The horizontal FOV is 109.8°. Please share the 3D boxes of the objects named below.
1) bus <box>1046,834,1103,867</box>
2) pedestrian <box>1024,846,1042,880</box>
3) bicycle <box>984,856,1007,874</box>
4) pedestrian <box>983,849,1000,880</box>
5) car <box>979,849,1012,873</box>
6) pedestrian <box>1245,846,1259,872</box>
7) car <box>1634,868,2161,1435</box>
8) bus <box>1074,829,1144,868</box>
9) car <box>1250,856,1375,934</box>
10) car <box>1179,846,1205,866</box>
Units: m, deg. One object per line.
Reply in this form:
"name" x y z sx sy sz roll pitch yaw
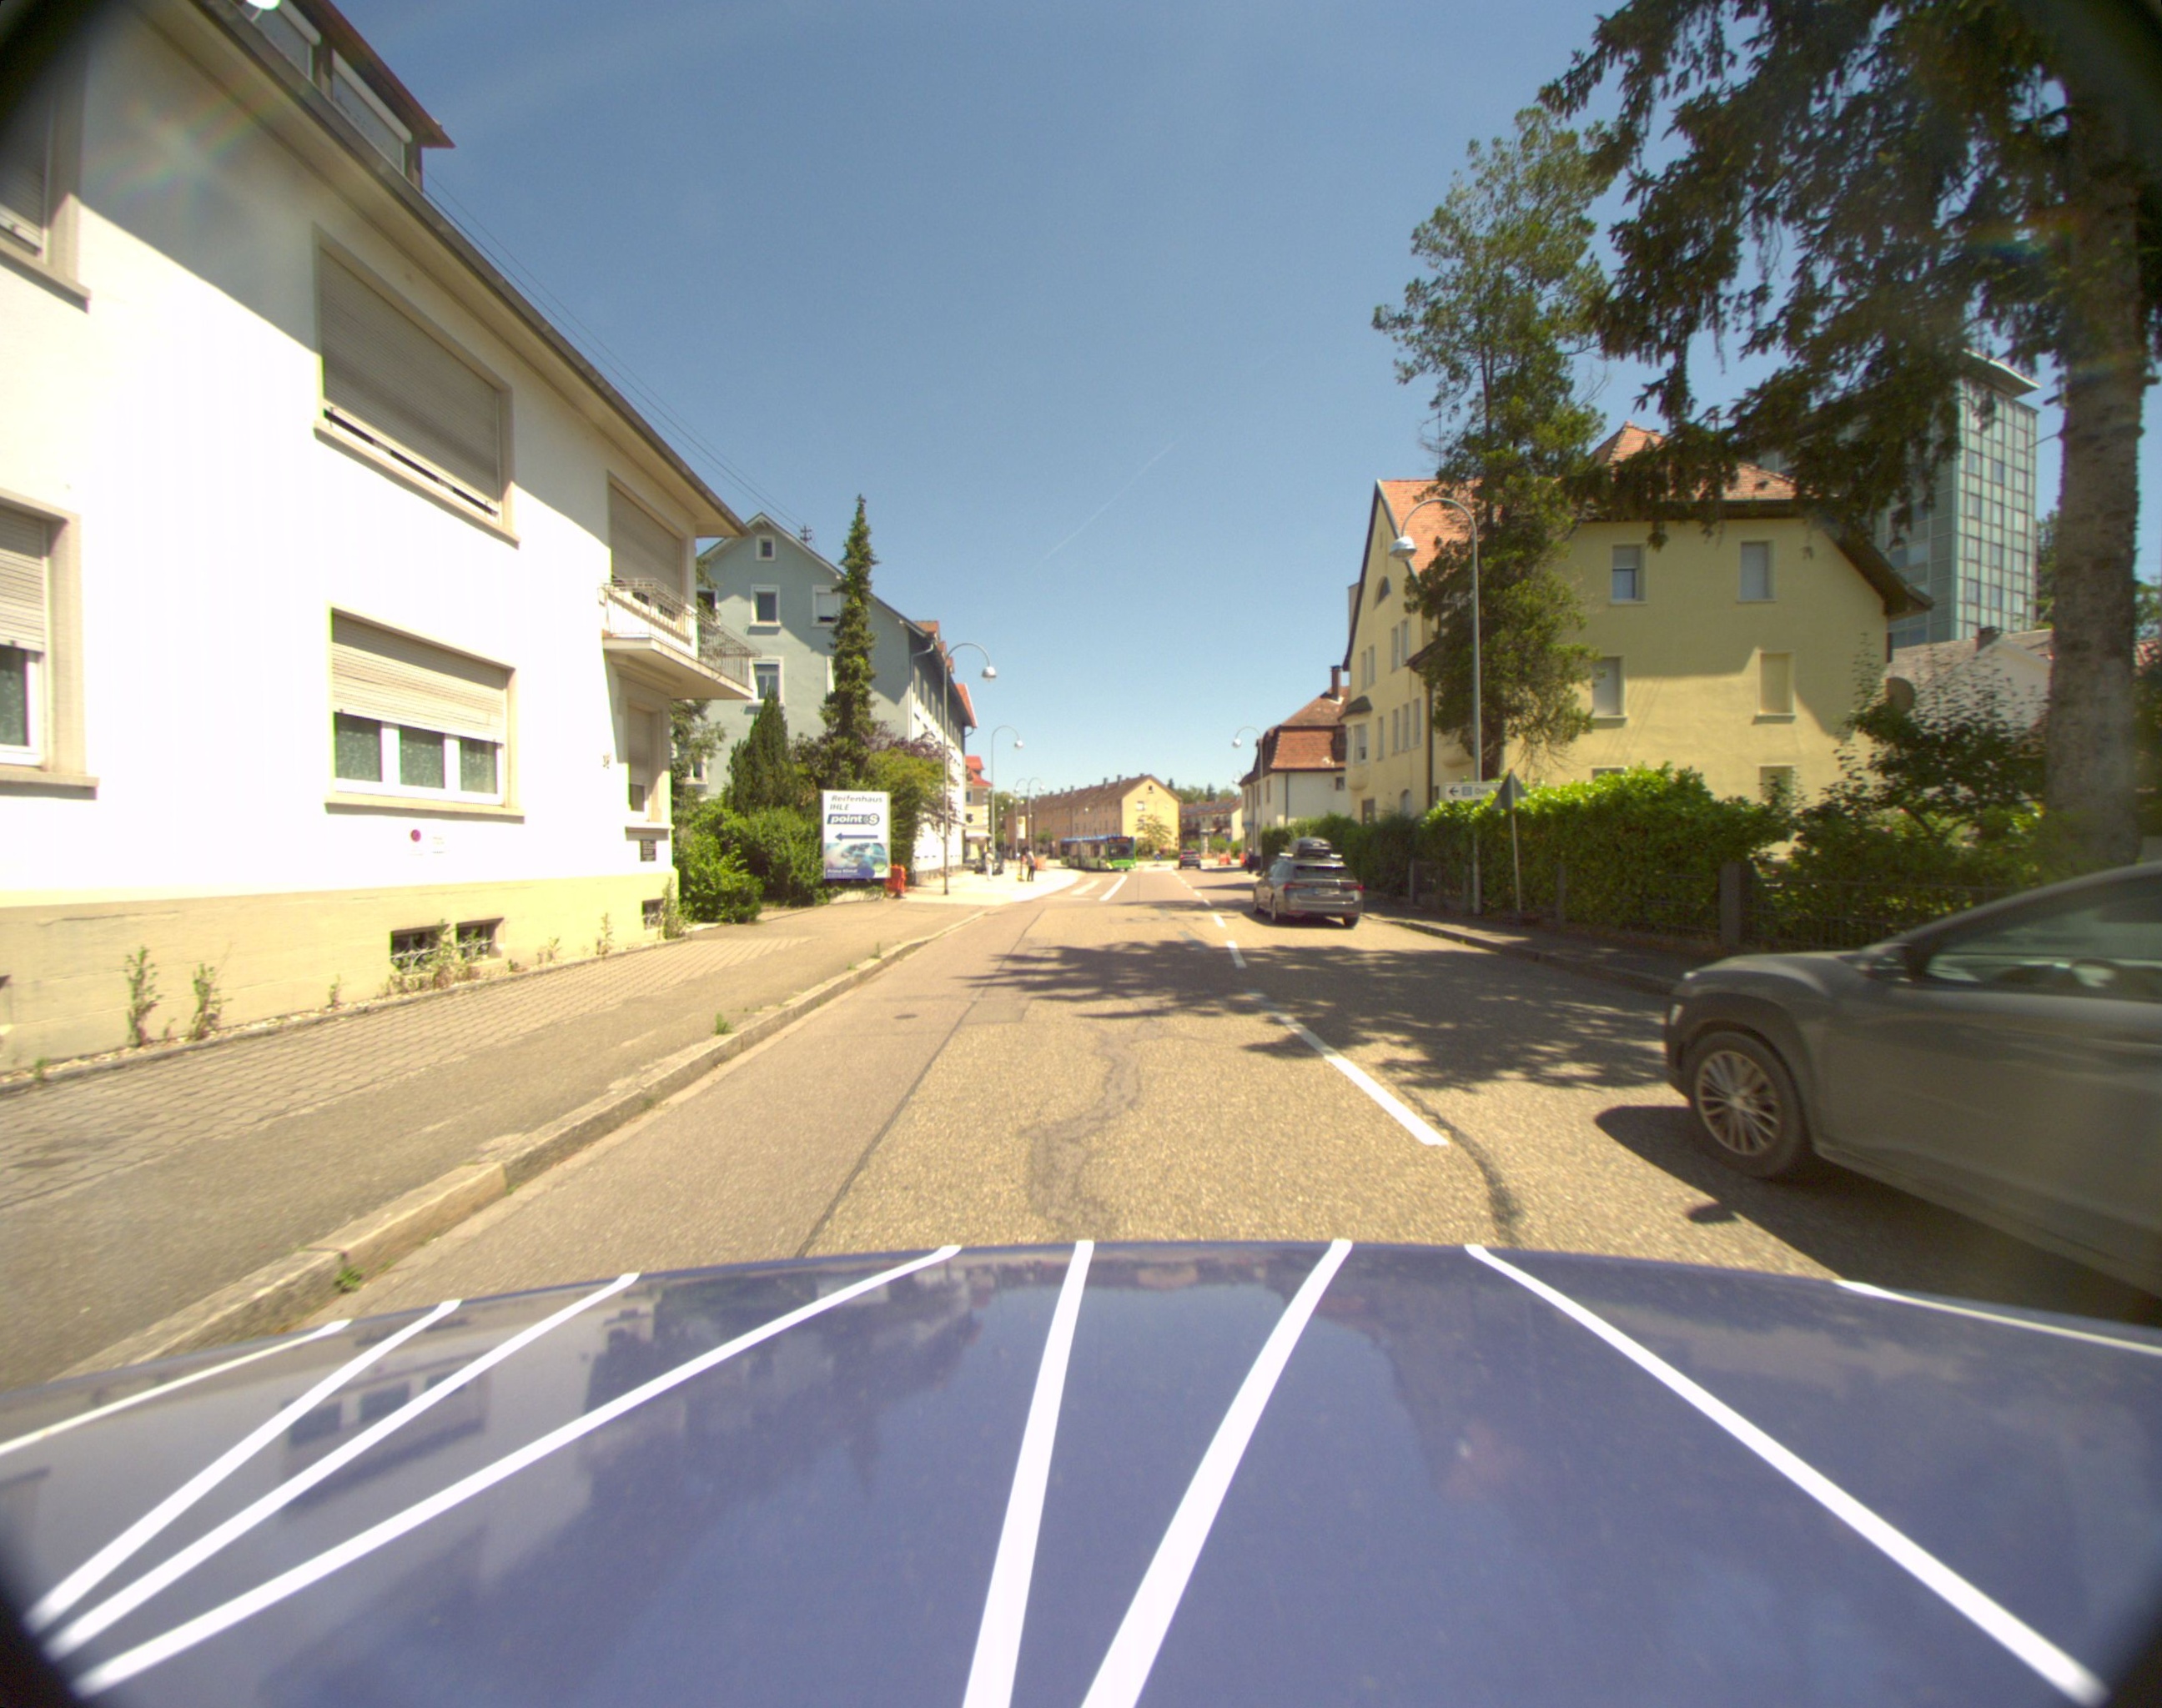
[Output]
"bus" -0.867 -0.291 80.103 2.932 3.044 12.546 -2 0 -15
"pedestrian" -2.609 0.500 41.139 0.751 1.795 0.615 3 1 -16
"bicycle" -5.216 0.675 46.611 0.632 1.033 1.886 3 1 18
"pedestrian" -4.696 0.527 39.796 0.614 1.606 0.751 2 1 15
"car" -5.650 0.435 50.652 1.762 1.505 3.740 3 1 0
"pedestrian" 10.705 0.317 47.601 0.614 1.555 0.824 -6 1 3
"car" 3.829 0.854 2.052 1.744 1.496 4.143 2 0 3
"bus" 2.205 -0.392 67.426 2.914 3.062 12.548 -2 0 -13
"car" 5.117 0.825 17.408 1.810 1.480 4.388 1 0 5
"car" 9.413 0.137 64.678 1.857 1.607 4.298 -1 1 5
